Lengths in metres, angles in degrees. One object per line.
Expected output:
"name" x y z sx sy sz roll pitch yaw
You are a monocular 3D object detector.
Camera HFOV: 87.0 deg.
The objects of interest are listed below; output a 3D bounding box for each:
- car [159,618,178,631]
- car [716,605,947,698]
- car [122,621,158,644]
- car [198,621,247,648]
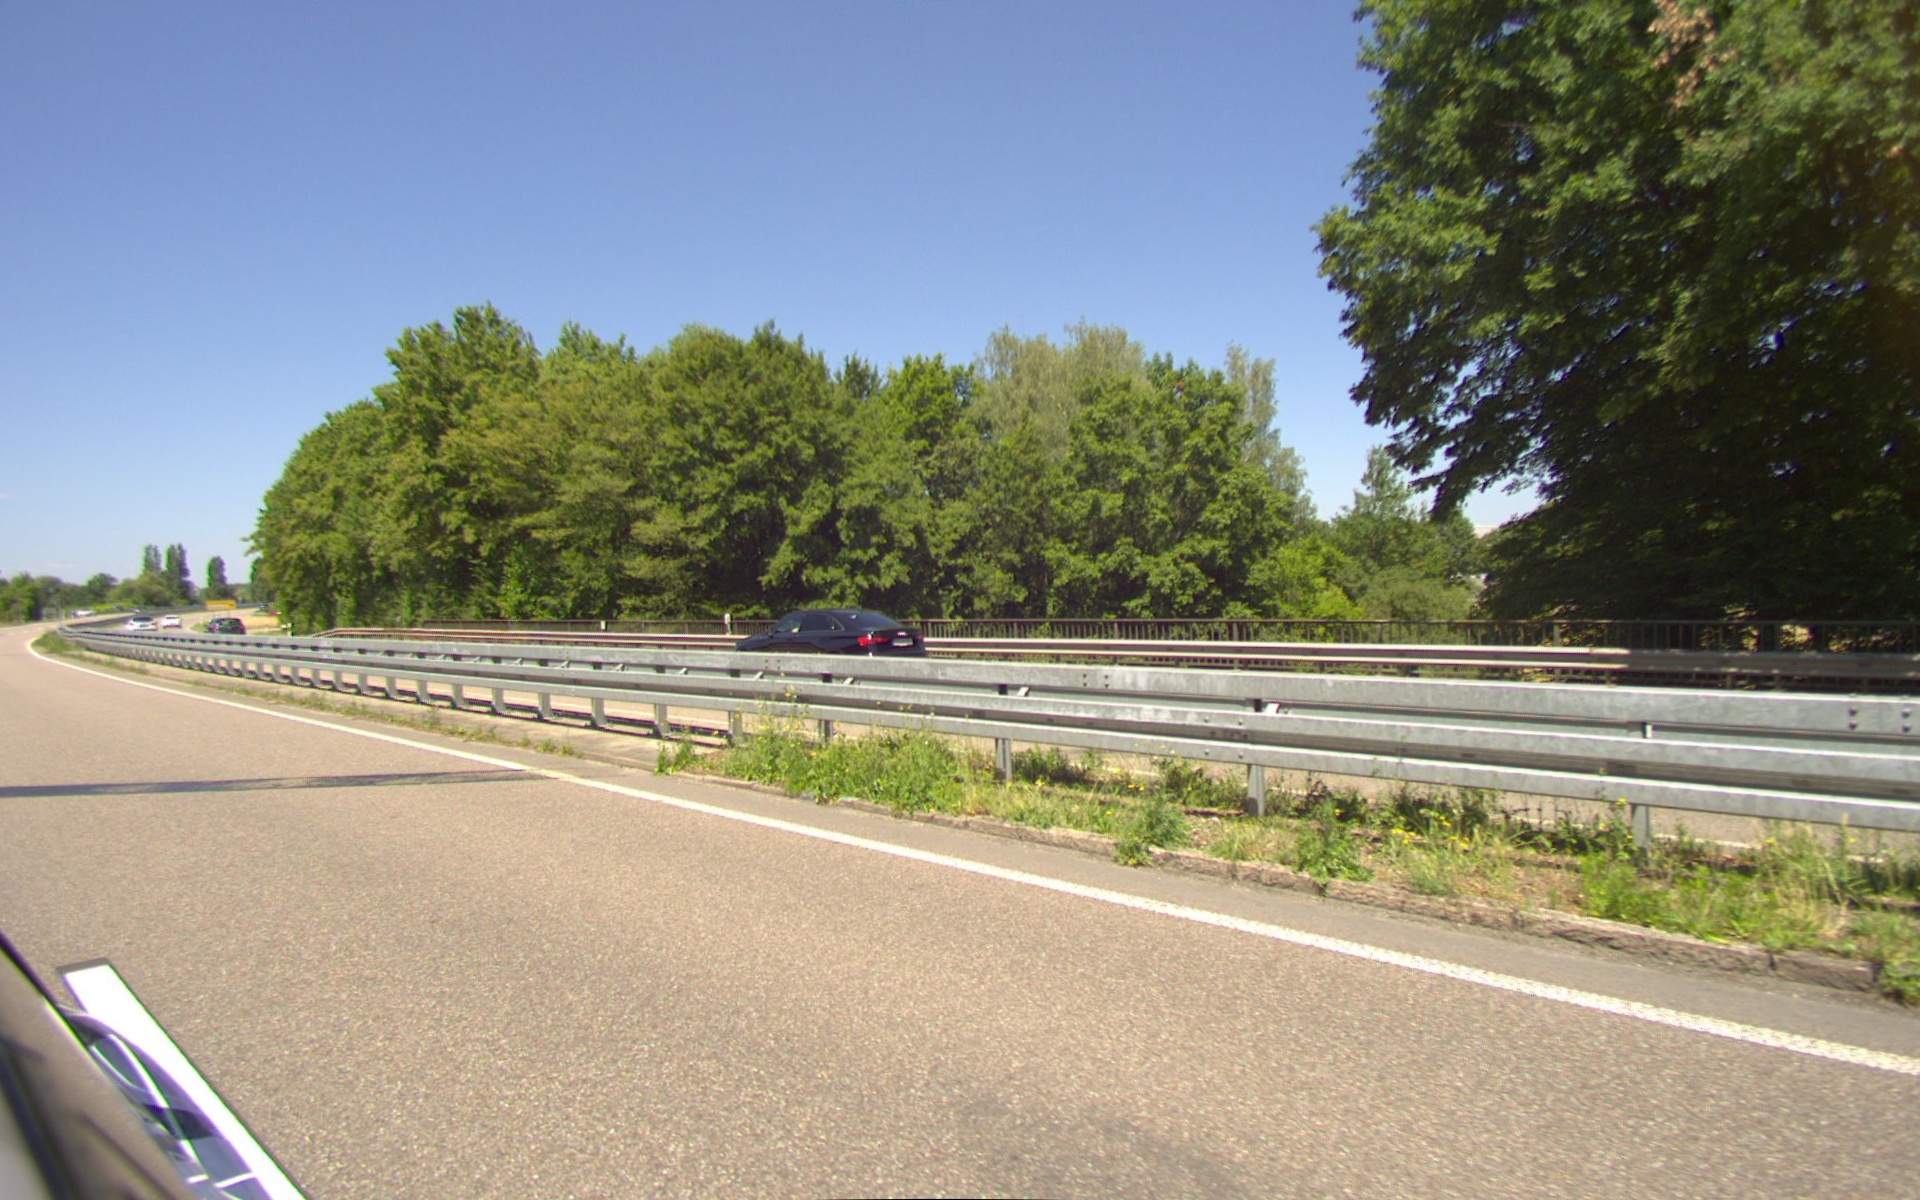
"car" -92.829 2.862 118.697 1.630 1.458 4.226 0 -1 -40
"car" -2.531 0.910 19.076 4.684 1.540 1.736 -2 -1 43
"car" -60.396 2.365 74.489 4.222 1.619 1.632 -2 -1 45
"car" -44.019 2.064 60.406 3.998 1.540 1.633 -2 -1 43
